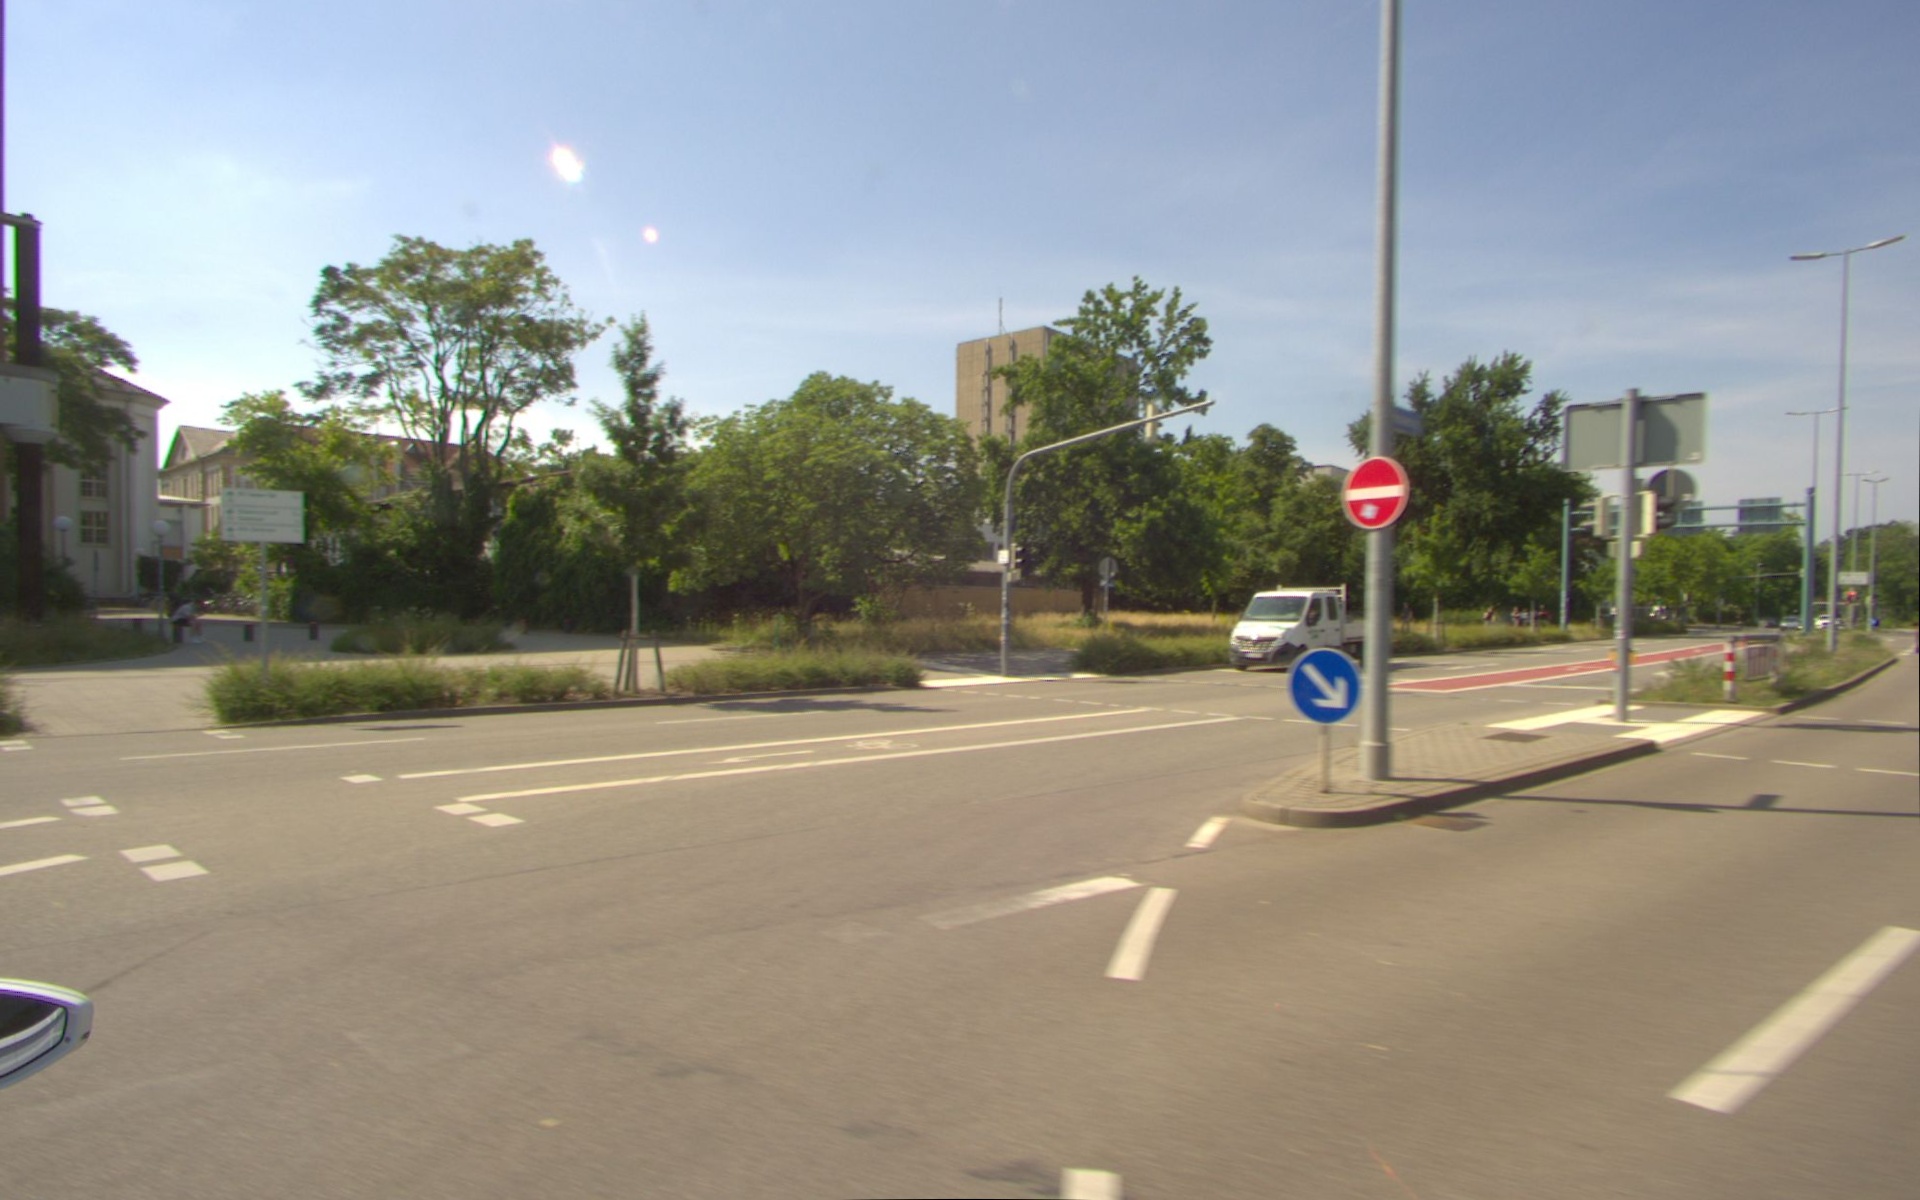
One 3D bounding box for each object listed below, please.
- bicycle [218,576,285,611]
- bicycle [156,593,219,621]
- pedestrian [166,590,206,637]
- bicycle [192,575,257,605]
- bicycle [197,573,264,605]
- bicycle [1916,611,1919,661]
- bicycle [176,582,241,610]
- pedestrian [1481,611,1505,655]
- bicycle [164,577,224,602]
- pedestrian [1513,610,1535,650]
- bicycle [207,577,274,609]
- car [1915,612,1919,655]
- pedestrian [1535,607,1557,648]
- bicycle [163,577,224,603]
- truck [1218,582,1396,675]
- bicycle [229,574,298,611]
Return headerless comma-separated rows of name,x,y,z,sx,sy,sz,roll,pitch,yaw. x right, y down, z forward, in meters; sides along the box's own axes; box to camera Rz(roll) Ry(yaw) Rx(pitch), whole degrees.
bicycle,-37.617,-0.338,53.207,0.832,1.768,2.809,2,1,41
bicycle,-44.830,0.378,58.124,0.832,1.580,2.809,2,1,41
pedestrian,-21.115,0.364,27.314,0.788,1.229,0.750,3,-1,-41
bicycle,-40.517,-0.531,55.183,0.832,1.608,2.809,2,1,41
bicycle,-39.677,-0.579,54.489,0.831,1.682,2.809,4,2,41
bicycle,37.516,1.346,37.806,1.978,1.839,3.965,1,0,43
bicycle,-42.276,-0.224,56.354,0.832,1.528,2.809,2,1,41
pedestrian,32.253,2.011,60.570,0.943,2.566,1.115,2,-1,42
bicycle,-46.739,-0.646,61.149,0.832,1.500,2.809,2,1,41
pedestrian,36.444,1.936,64.723,0.943,2.566,1.115,2,-1,42
bicycle,-38.590,-0.342,53.765,0.832,1.671,2.809,2,1,41
car,41.772,1.429,42.151,1.956,1.821,4.574,2,1,41
pedestrian,37.807,1.768,64.563,0.943,2.566,1.115,2,-1,42
bicycle,-45.860,-0.598,59.940,0.832,1.520,2.809,2,1,41
truck,10.284,0.774,29.188,2.387,2.386,6.987,0,-1,42
bicycle,-35.914,-0.390,51.667,0.832,1.861,2.809,2,1,41
